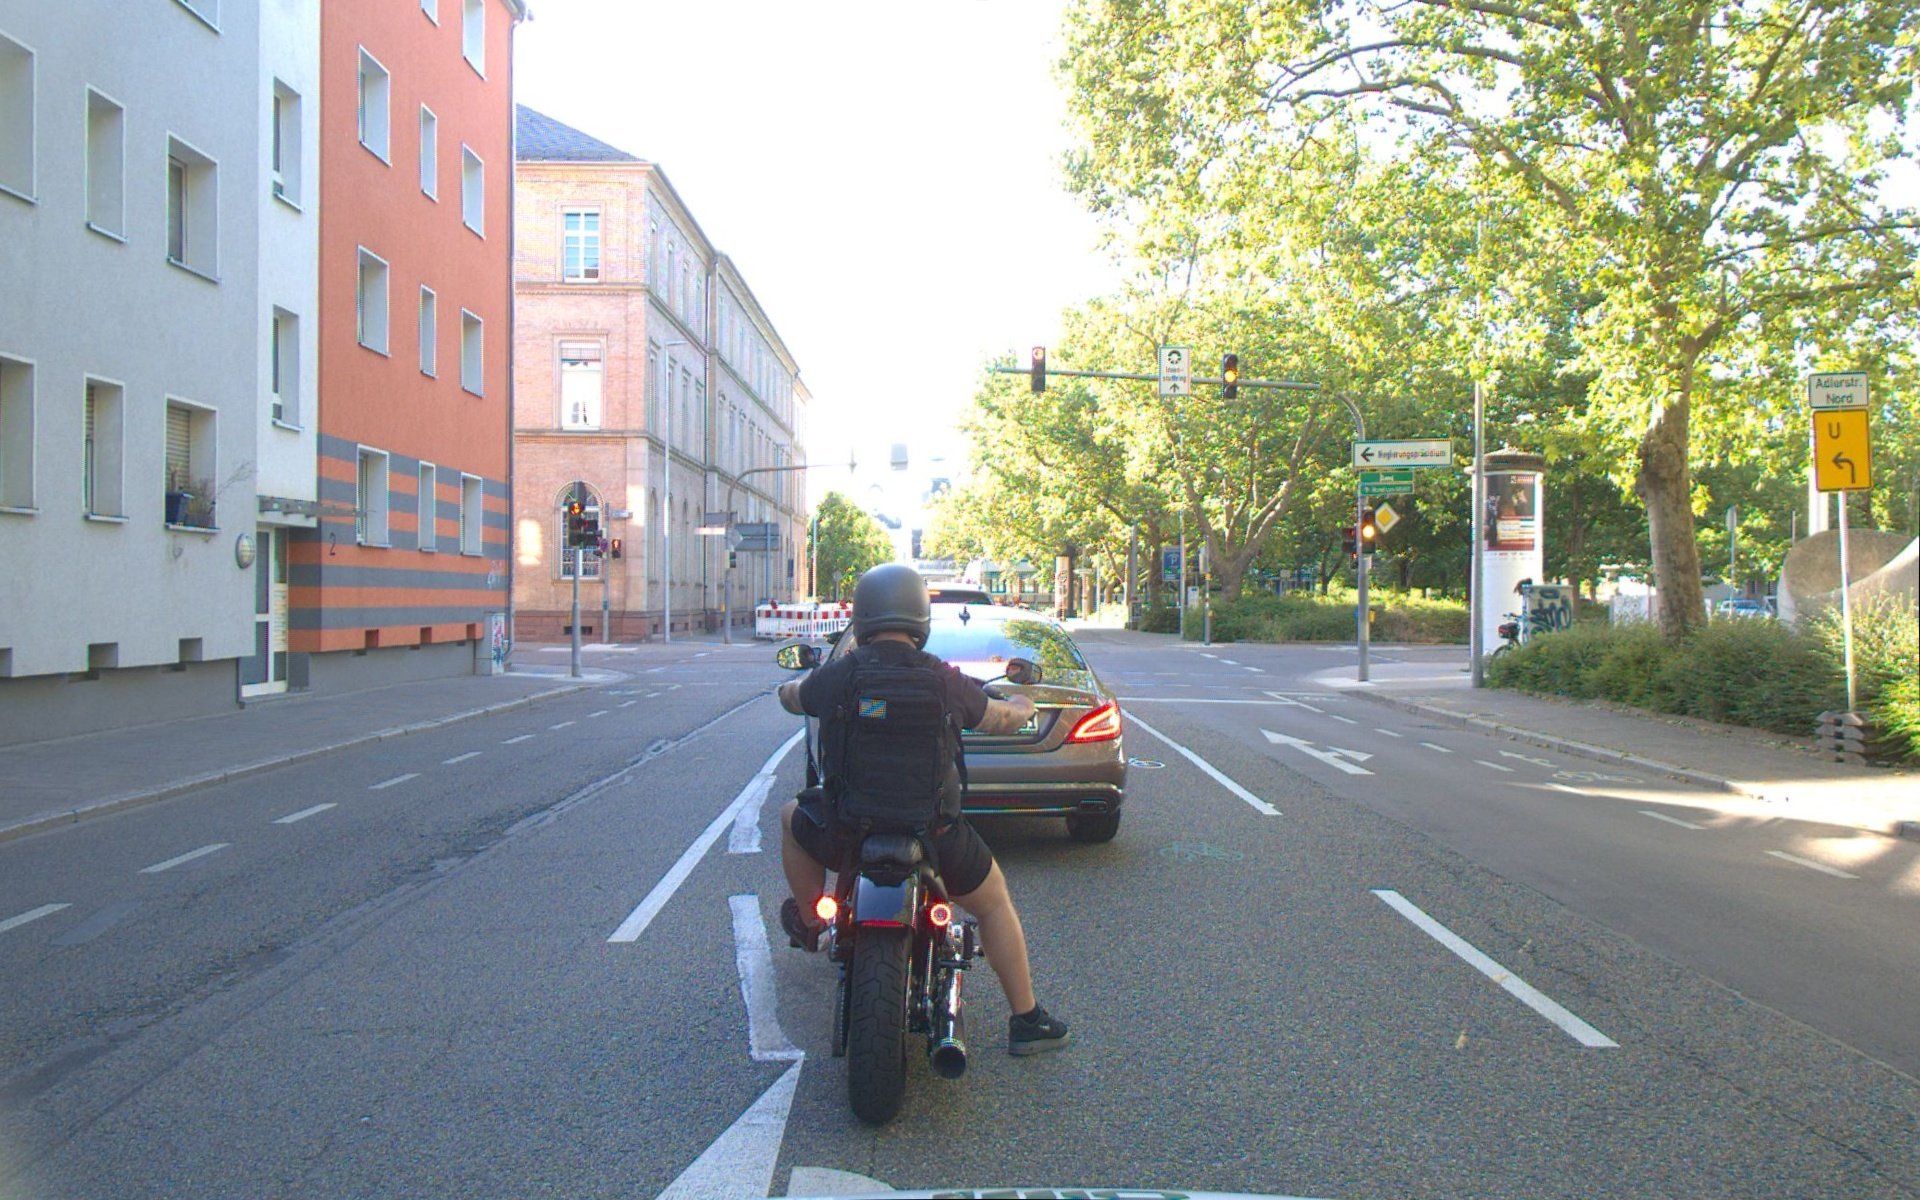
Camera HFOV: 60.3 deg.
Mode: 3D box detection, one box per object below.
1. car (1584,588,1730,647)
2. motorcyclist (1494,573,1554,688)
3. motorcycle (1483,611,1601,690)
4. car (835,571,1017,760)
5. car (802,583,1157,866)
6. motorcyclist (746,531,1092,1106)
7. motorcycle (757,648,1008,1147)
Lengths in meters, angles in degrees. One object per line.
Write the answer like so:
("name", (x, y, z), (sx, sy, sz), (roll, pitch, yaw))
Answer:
("car", (21.992, 0.543, 52.288), (3.907, 1.803, 1.737), (0, 0, -3))
("motorcyclist", (9.485, 0.508, 27.828), (0.805, 1.896, 0.672), (1, -1, 4))
("motorcycle", (9.776, 0.840, 27.817), (1.743, 1.265, 0.723), (1, 0, 4))
("car", (-0.331, 0.602, 16.963), (1.618, 1.681, 3.999), (1, 0, -1))
("car", (-0.085, 0.686, 11.120), (1.790, 1.512, 4.326), (1, 0, -7))
("motorcyclist", (-0.123, 0.631, 5.320), (0.970, 1.639, 1.120), (1, 0, -1))
("motorcycle", (-0.219, 0.819, 5.410), (0.646, 1.261, 2.057), (1, 0, -1))
